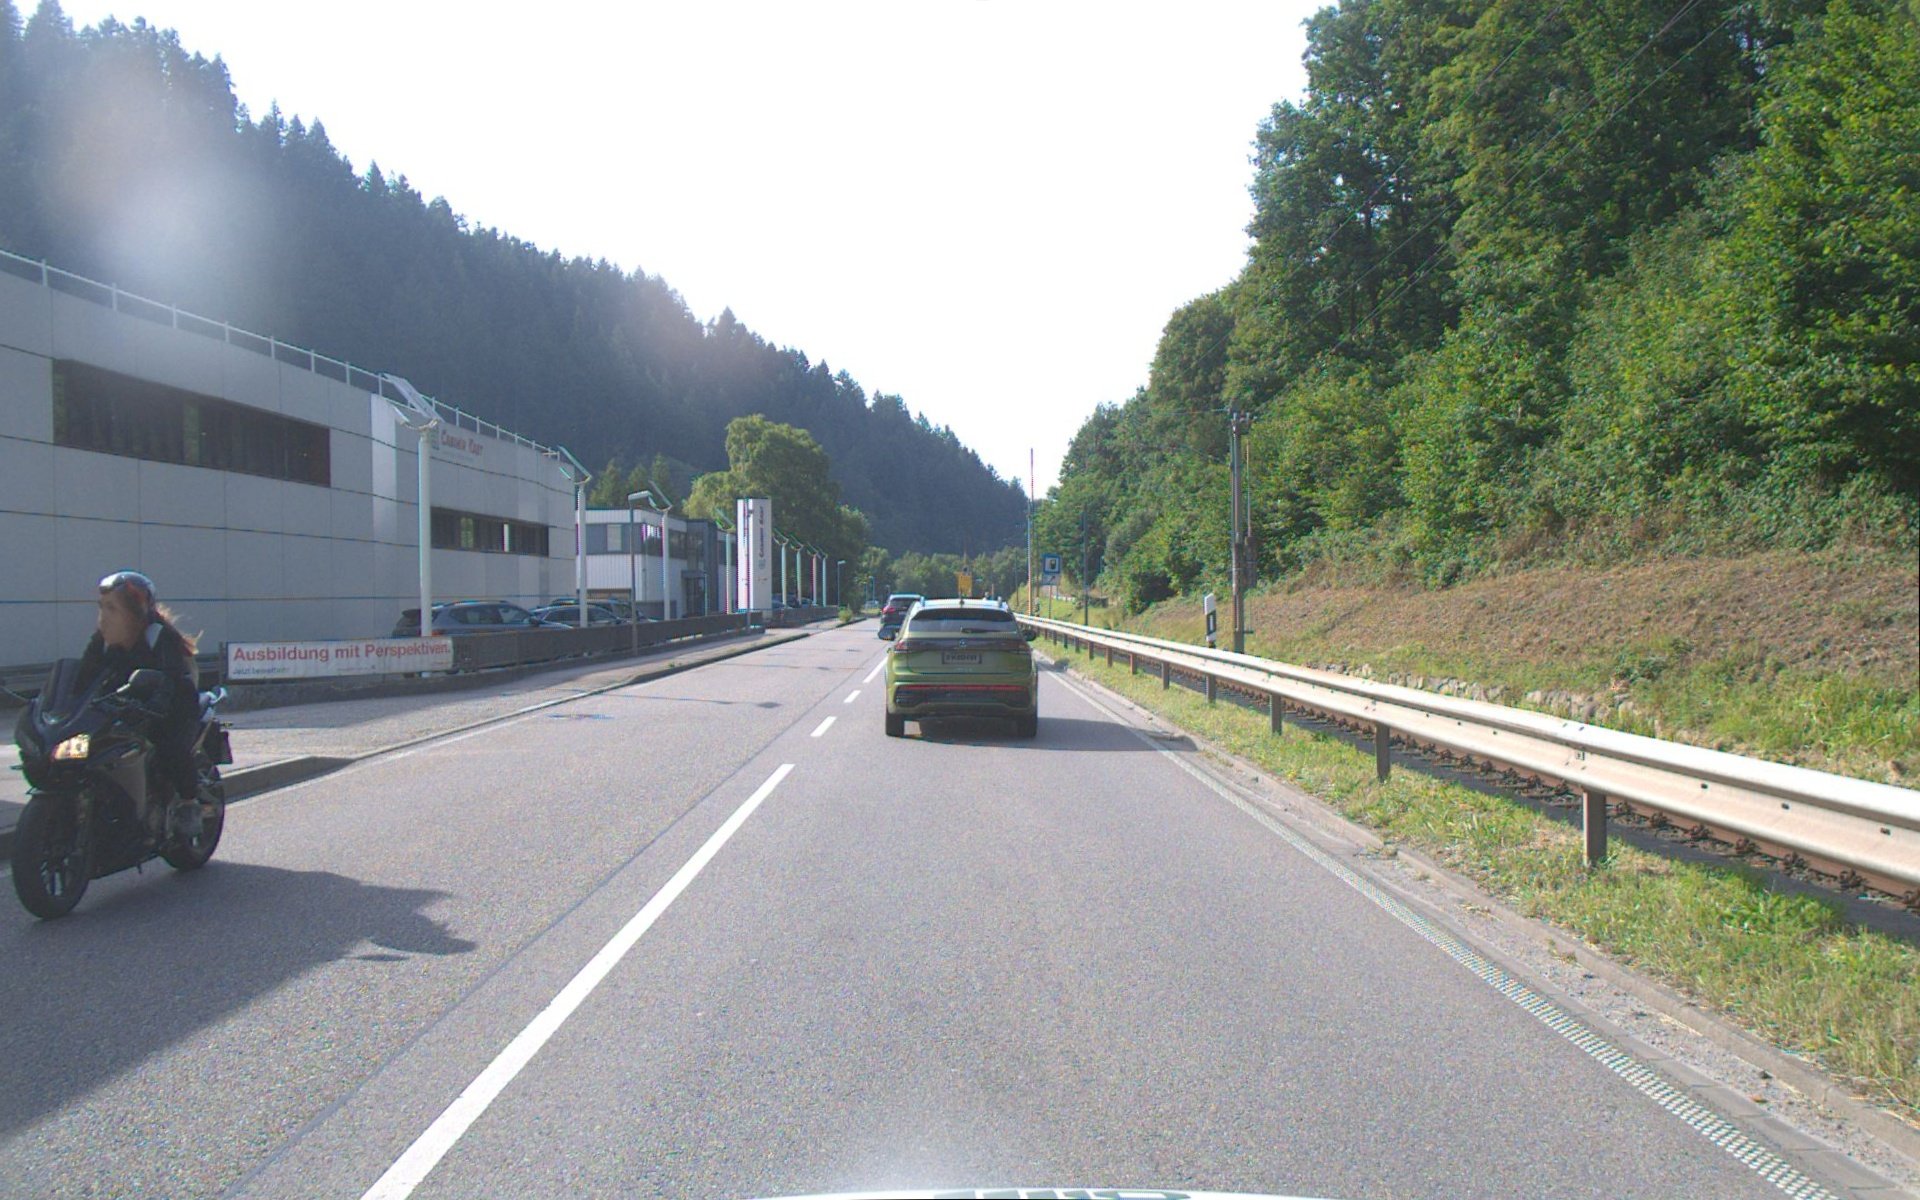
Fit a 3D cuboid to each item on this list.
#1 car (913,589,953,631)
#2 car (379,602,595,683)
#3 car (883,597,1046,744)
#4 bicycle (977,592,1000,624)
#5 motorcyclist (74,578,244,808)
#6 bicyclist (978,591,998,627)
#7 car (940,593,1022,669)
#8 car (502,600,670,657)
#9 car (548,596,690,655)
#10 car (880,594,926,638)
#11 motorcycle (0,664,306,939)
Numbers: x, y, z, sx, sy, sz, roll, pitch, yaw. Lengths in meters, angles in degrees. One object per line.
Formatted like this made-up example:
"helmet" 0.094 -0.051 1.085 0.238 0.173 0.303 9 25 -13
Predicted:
"car" -1.334 0.485 83.303 1.953 2.049 3.999 0 0 -1
"car" -10.062 0.864 35.431 1.854 1.619 4.152 0 0 40
"car" -0.009 0.737 19.317 1.704 1.534 3.999 0 0 -2
"bicycle" 1.144 0.323 67.454 0.795 1.272 2.121 0 0 -3
"motorcyclist" -4.125 0.462 8.558 0.574 1.144 0.636 0 0 -1
"bicyclist" 1.141 0.367 67.557 0.766 1.436 0.674 0 0 -3
"car" 0.439 0.670 37.949 1.704 1.630 3.999 0 0 -2
"car" -10.549 0.760 46.870 1.854 1.521 4.464 0 0 40
"car" -10.419 0.751 50.801 1.749 1.738 4.088 0 0 41
"car" -2.172 0.595 63.557 1.704 1.630 3.999 0 0 -2
"motorcycle" -4.145 0.915 8.359 0.726 1.087 2.491 0 0 -1
